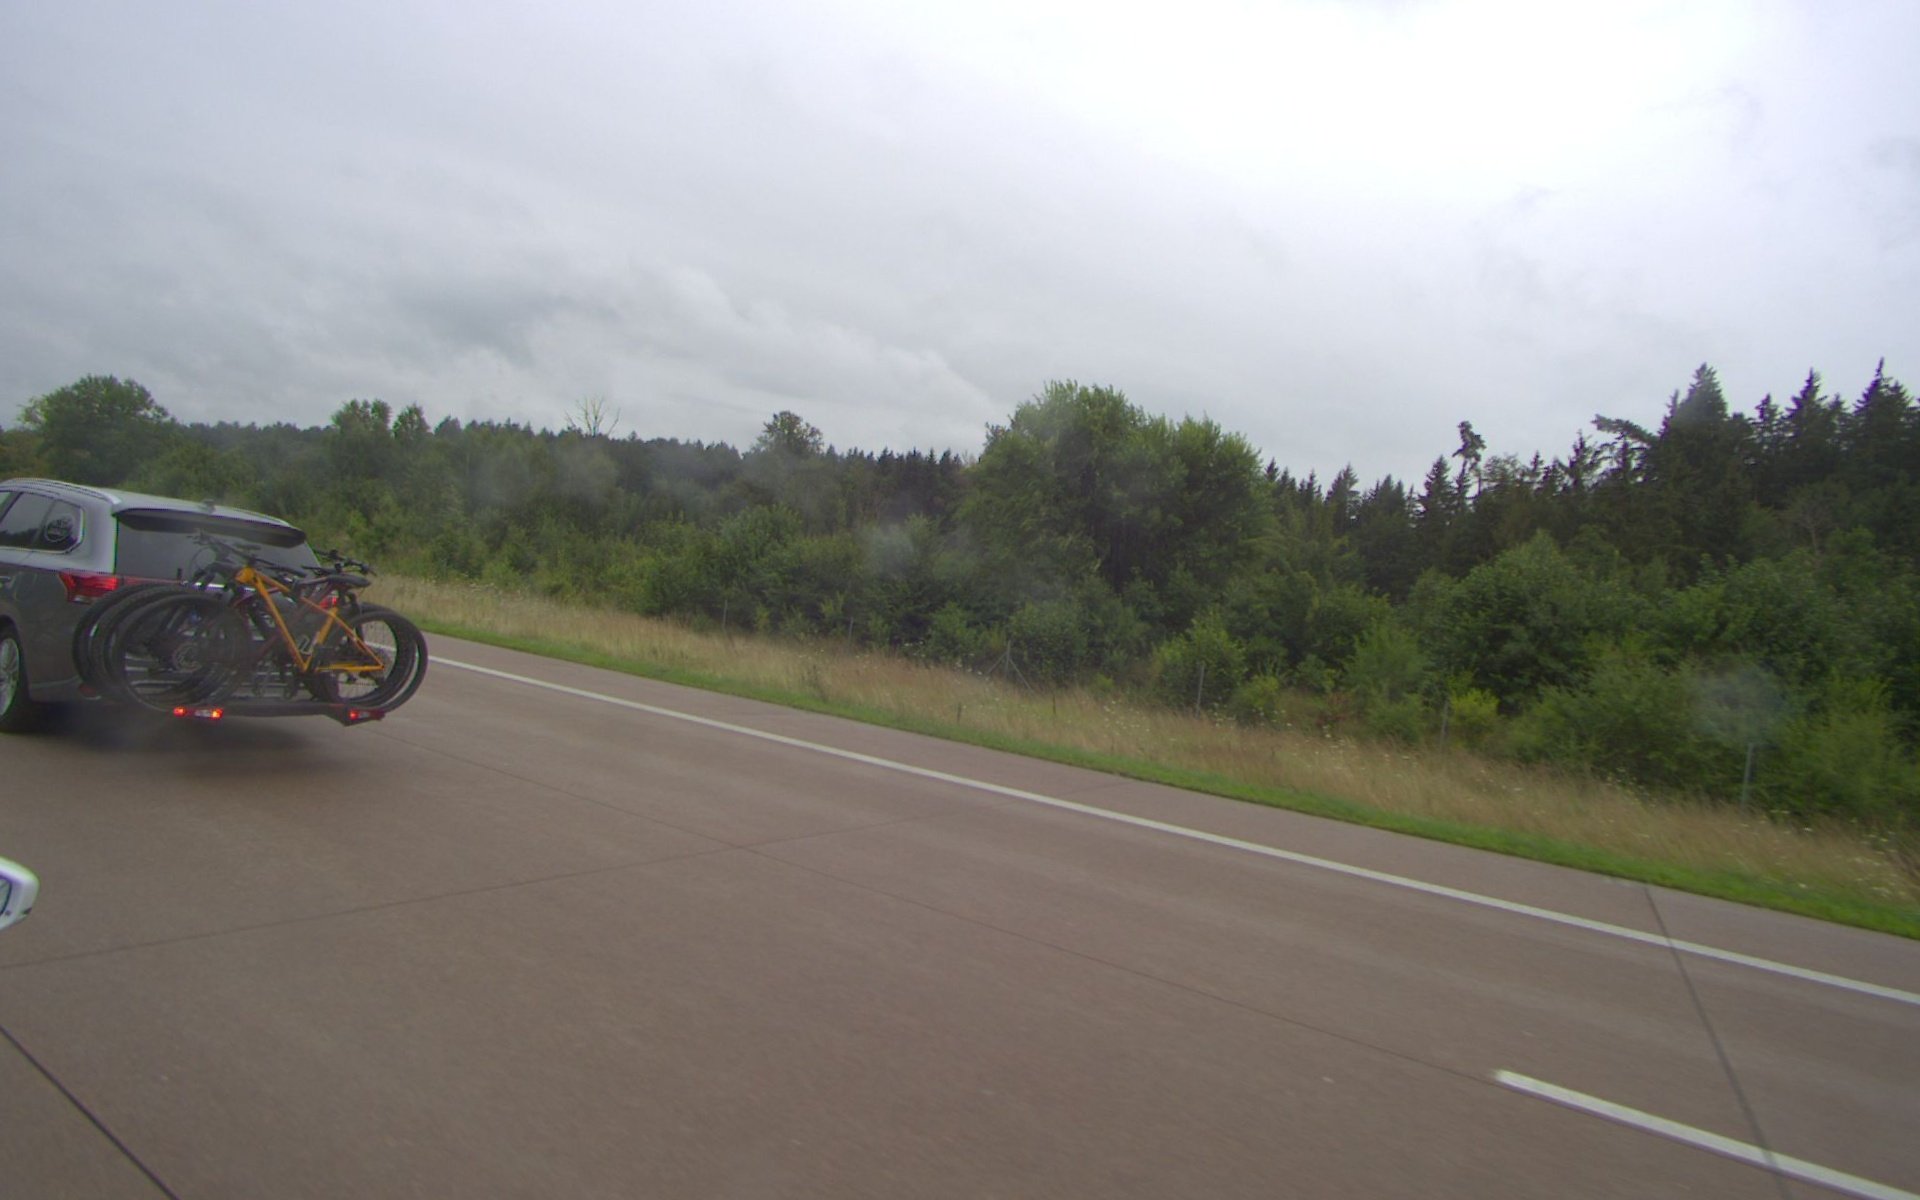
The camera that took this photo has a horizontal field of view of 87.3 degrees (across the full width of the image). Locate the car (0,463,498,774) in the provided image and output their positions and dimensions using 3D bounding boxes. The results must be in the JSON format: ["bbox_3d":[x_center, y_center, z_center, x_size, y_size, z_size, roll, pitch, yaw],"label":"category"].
[{"bbox_3d":[-6.229,-0.034,7.640,5.724,1.611,1.997,6,-2,32],"label":"car"}]
